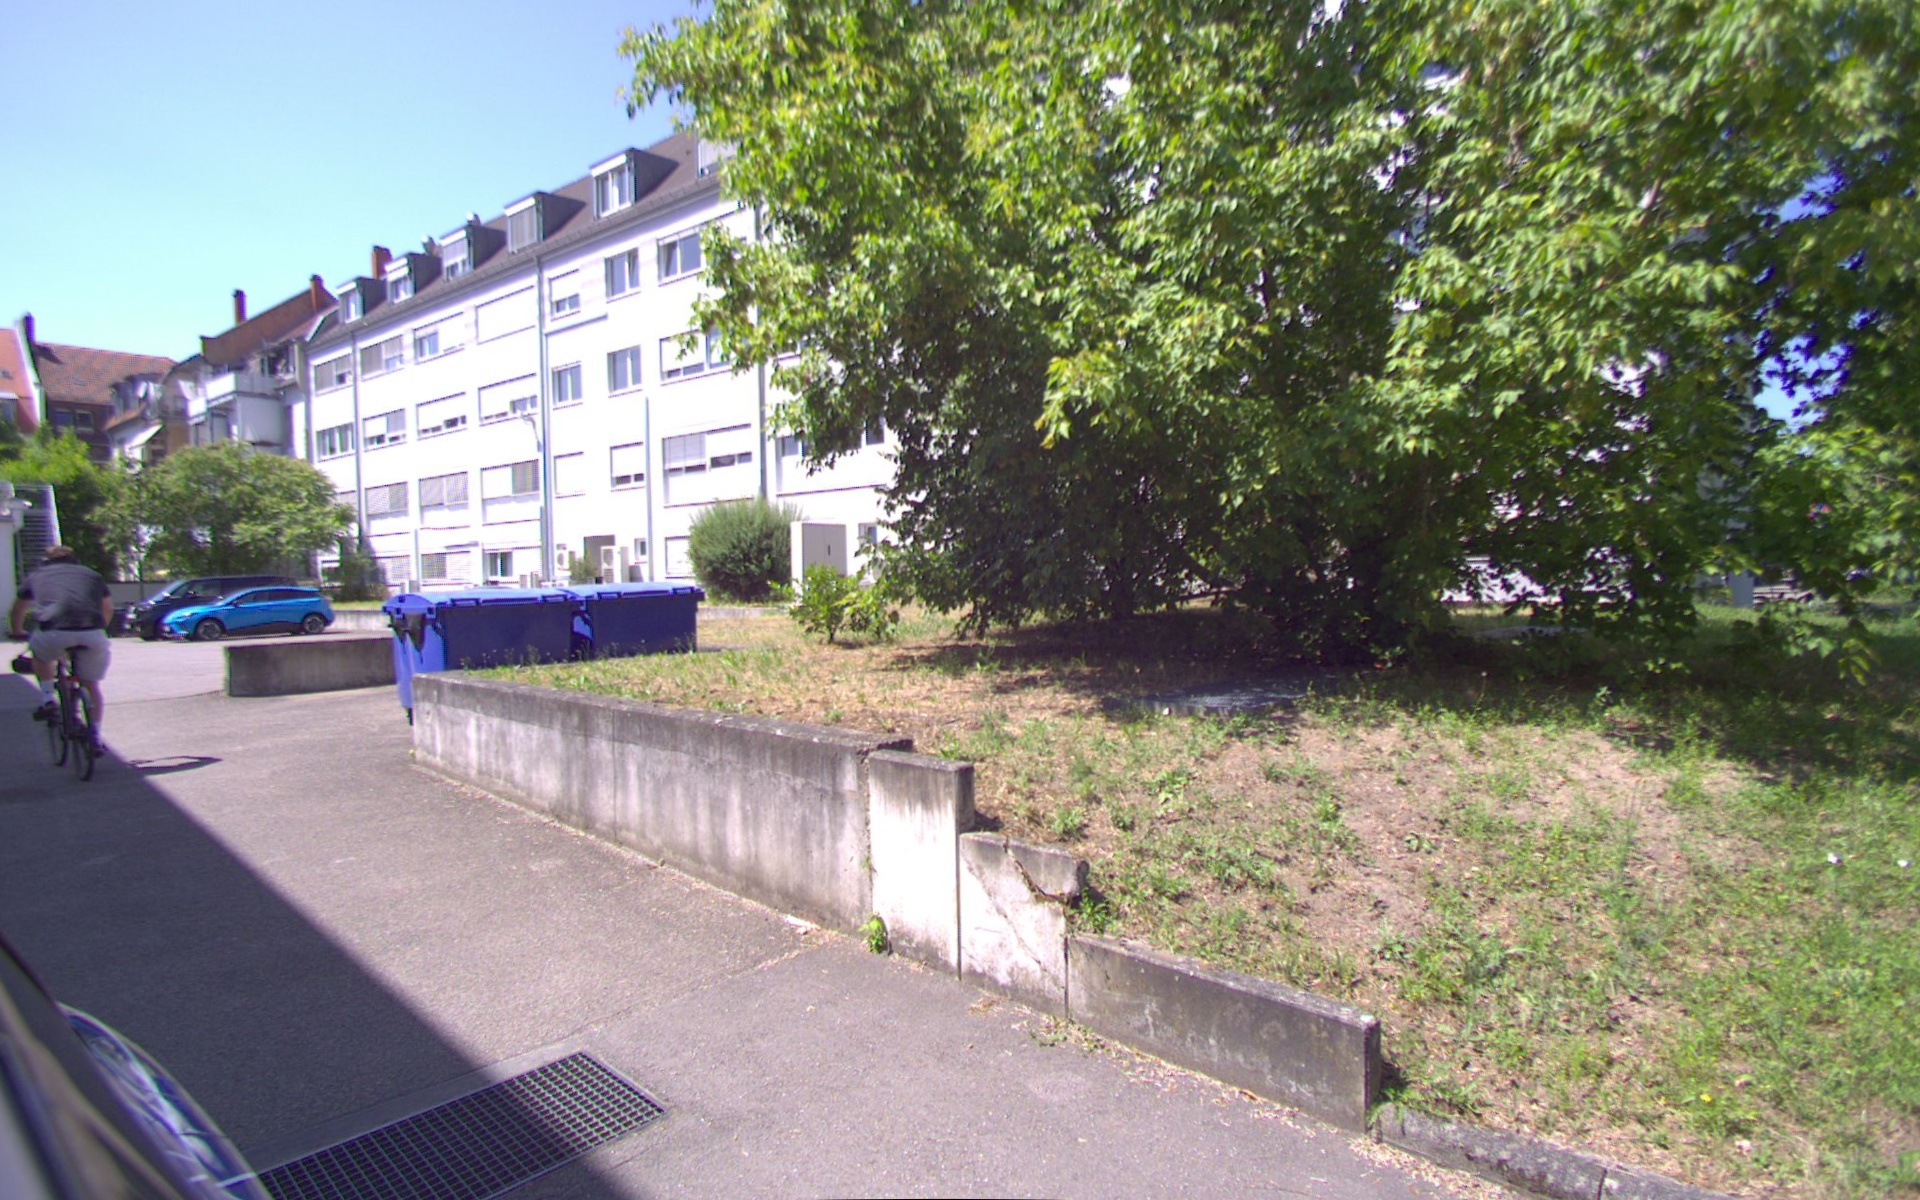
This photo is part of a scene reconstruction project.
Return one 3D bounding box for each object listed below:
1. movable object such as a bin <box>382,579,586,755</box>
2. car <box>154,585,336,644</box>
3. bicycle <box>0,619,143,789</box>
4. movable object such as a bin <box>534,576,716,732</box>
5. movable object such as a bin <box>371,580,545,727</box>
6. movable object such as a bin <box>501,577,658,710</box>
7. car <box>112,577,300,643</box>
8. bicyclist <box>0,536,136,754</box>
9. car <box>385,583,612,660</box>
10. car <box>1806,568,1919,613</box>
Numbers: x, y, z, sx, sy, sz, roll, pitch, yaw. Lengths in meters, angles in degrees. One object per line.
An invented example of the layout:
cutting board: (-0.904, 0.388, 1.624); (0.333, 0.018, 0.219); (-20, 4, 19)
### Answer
movable object such as a bin: (-4.066, 0.509, 8.661); (1.104, 1.337, 1.240); (0, 2, 44)
car: (-21.461, 0.392, 30.516); (1.857, 1.565, 4.116); (0, 2, 39)
bicycle: (-7.222, 0.770, 8.177); (1.904, 1.183, 0.637); (0, 1, 42)
movable object such as a bin: (-3.181, 0.461, 9.619); (1.104, 1.337, 1.240); (0, 2, 44)
movable object such as a bin: (-5.055, 0.490, 10.208); (1.104, 1.337, 1.240); (0, 2, 44)
movable object such as a bin: (-4.199, 0.441, 11.181); (1.104, 1.337, 1.240); (0, 2, 44)
car: (-23.703, 0.251, 31.929); (1.999, 1.845, 4.392); (0, 2, 41)
bicyclist: (-7.195, 0.321, 8.123); (0.978, 1.621, 0.715); (0, 2, 42)
car: (-9.494, 0.379, 21.063); (1.710, 1.447, 3.947); (0, 1, 40)
car: (34.847, -0.386, 38.428); (4.169, 1.630, 1.949); (1, 2, 41)
